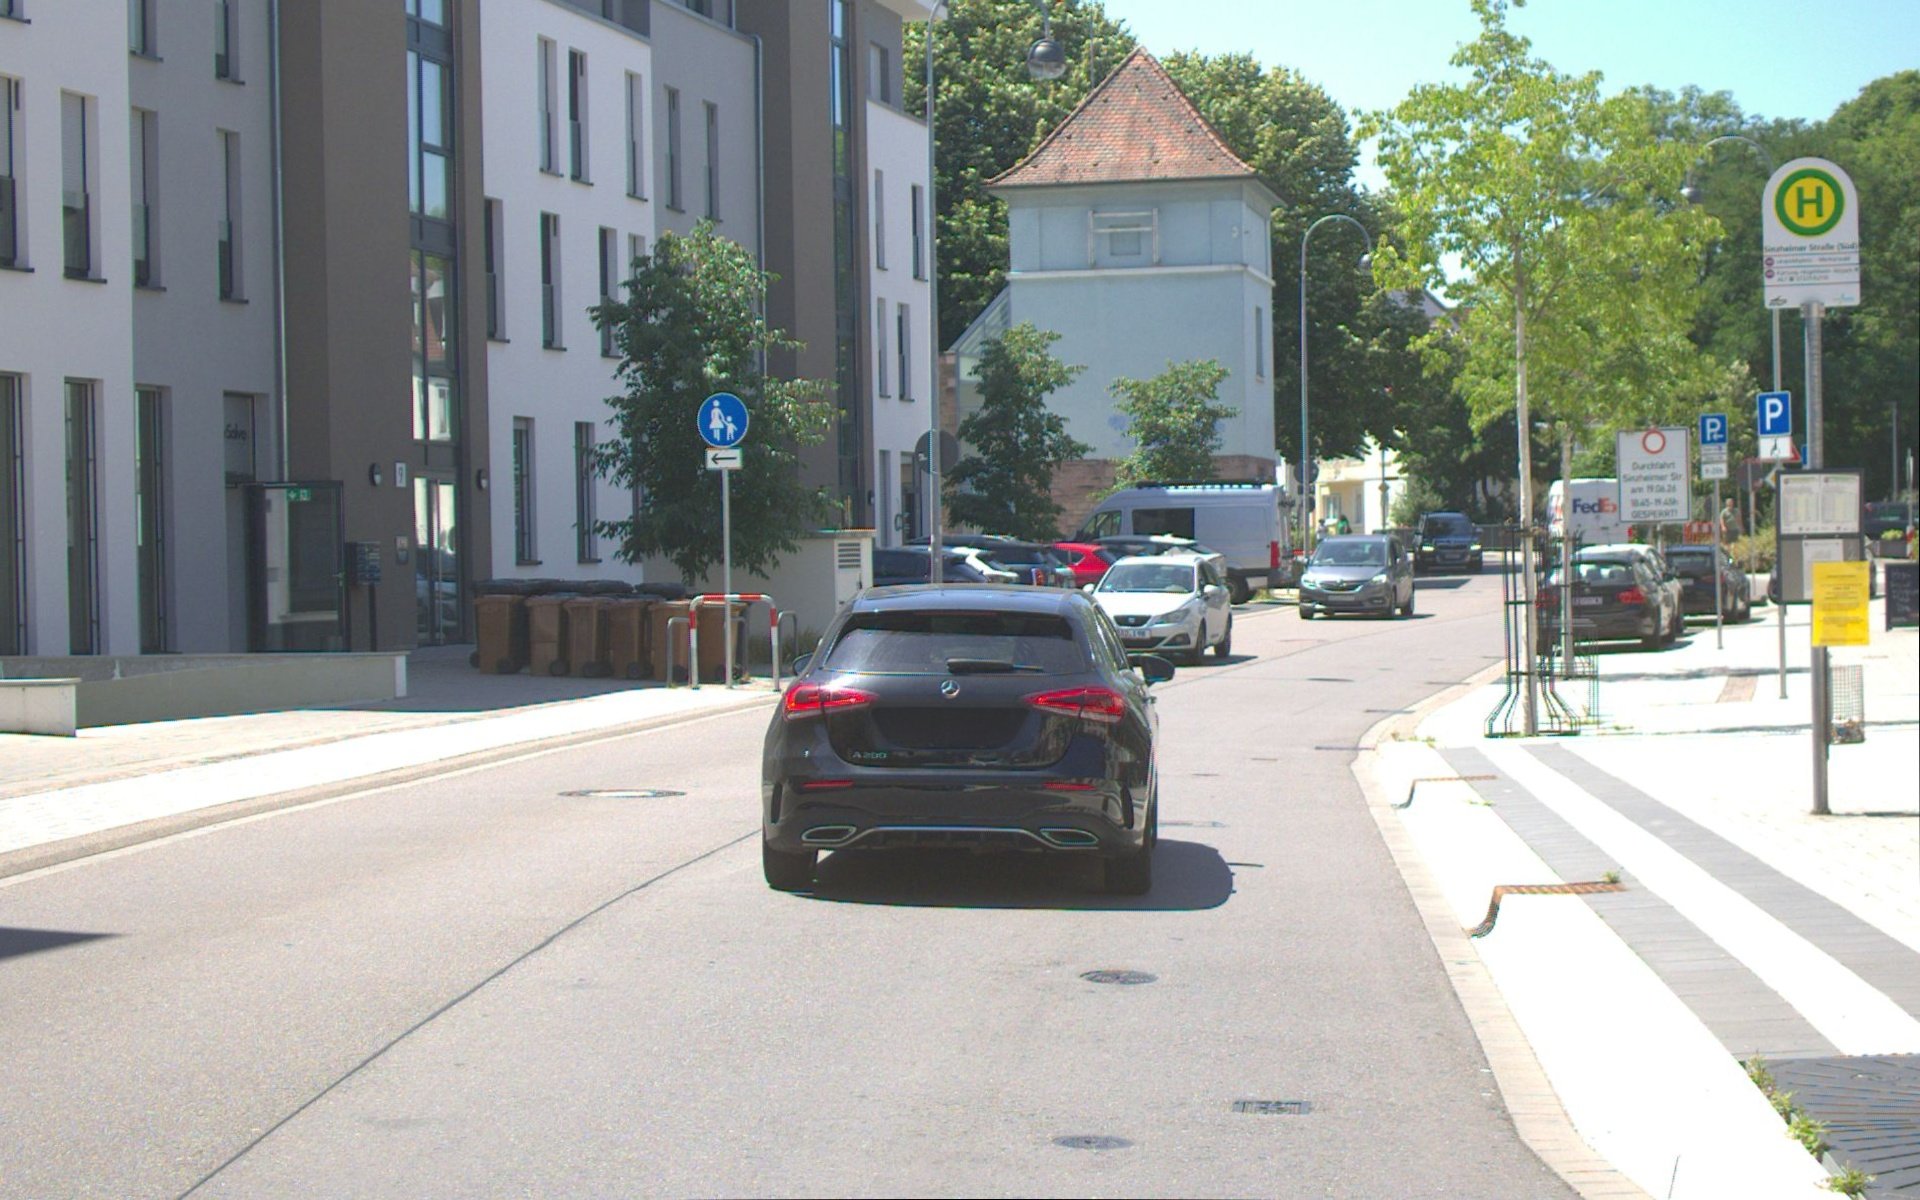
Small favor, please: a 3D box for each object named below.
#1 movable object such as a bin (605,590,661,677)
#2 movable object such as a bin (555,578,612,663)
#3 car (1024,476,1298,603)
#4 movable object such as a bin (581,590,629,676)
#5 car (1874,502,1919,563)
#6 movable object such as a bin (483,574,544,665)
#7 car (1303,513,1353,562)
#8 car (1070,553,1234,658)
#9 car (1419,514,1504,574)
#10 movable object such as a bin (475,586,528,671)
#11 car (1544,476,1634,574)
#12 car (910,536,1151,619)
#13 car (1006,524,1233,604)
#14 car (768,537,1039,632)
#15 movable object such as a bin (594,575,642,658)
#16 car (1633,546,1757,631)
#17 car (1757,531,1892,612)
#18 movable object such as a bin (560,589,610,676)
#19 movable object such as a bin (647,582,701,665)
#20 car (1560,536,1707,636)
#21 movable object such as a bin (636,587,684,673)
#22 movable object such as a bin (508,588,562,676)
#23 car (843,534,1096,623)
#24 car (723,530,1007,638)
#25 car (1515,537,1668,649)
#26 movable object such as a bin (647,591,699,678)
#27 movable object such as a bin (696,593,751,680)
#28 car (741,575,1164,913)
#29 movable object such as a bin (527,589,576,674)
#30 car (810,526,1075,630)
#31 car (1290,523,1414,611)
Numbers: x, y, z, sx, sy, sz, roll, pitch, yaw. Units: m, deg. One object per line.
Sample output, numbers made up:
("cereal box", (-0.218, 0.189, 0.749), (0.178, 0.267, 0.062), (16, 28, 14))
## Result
("movable object such as a bin", (-3.801, 0.384, 40.032), (0.483, 0.994, 0.587), (0, 1, 13))
("movable object such as a bin", (-4.708, 0.250, 43.004), (0.675, 1.035, 0.605), (-1, 1, -4))
("car", (4.511, -1.366, 77.003), (5.771, 2.723, 2.290), (1, 1, 15))
("movable object such as a bin", (-4.188, 0.382, 40.548), (0.403, 0.994, 0.555), (0, 1, 12))
("car", (27.925, -1.887, 96.920), (4.077, 1.710, 1.855), (1, 1, 12))
("movable object such as a bin", (-5.474, 0.239, 42.198), (0.692, 1.092, 0.648), (-1, 1, -4))
("car", (15.656, -2.633, 146.405), (1.994, 2.007, 3.999), (1, 1, 5))
("car", (2.678, 0.048, 47.344), (1.668, 1.391, 3.845), (0, 1, 12))
("car", (14.443, -1.602, 98.808), (1.812, 1.695, 4.073), (0, 1, 17))
("movable object such as a bin", (-5.423, 0.332, 40.646), (0.483, 0.994, 0.588), (0, 1, 6))
("car", (17.516, -2.094, 95.912), (2.128, 2.621, 5.276), (-1, 1, 7))
("car", (1.309, -0.430, 63.011), (4.035, 1.425, 1.999), (1, 1, 16))
("car", (3.378, -0.774, 72.474), (4.456, 1.586, 1.999), (1, 1, 14))
("car", (-0.891, -0.268, 55.223), (3.989, 1.416, 1.909), (1, 1, 14))
("movable object such as a bin", (-4.335, 0.209, 43.641), (0.575, 1.035, 0.550), (-1, 1, -4))
("car", (13.323, -0.233, 62.139), (1.726, 1.400, 4.605), (-2, 1, 18))
("car", (18.206, -0.618, 72.277), (1.875, 1.486, 3.856), (-2, 2, 27))
("movable object such as a bin", (-4.363, 0.376, 40.012), (0.425, 0.994, 0.523), (0, 1, 13))
("movable object such as a bin", (-3.561, 0.288, 42.840), (0.554, 1.016, 0.560), (0, 1, 9))
("car", (10.999, -0.253, 55.972), (1.739, 1.481, 4.050), (-3, 0, 19))
("movable object such as a bin", (-3.520, 0.354, 40.399), (0.403, 0.994, 0.555), (0, 1, 12))
("movable object such as a bin", (-4.930, 0.368, 39.888), (0.483, 0.994, 0.526), (0, 1, 11))
("car", (0.185, -0.398, 60.447), (4.035, 1.491, 1.999), (1, 1, 16))
("car", (-1.442, -0.275, 53.002), (3.989, 1.510, 1.999), (1, 3, 14))
("car", (9.219, -0.114, 49.973), (1.834, 1.477, 4.093), (-3, 0, 15))
("movable object such as a bin", (-3.317, 0.396, 39.738), (0.483, 0.994, 0.588), (0, 1, 6))
("movable object such as a bin", (-2.774, 0.427, 40.356), (0.483, 0.994, 0.587), (0, 1, 12))
("car", (0.052, 0.614, 17.039), (1.828, 1.437, 4.000), (1, 1, 3))
("movable object such as a bin", (-4.807, 0.368, 40.454), (0.403, 0.994, 0.555), (0, 1, 12))
("car", (-0.276, -0.393, 57.666), (4.035, 1.645, 1.999), (1, 1, 16))
("car", (7.725, -0.663, 67.442), (1.943, 1.653, 4.233), (1, 1, 13))
